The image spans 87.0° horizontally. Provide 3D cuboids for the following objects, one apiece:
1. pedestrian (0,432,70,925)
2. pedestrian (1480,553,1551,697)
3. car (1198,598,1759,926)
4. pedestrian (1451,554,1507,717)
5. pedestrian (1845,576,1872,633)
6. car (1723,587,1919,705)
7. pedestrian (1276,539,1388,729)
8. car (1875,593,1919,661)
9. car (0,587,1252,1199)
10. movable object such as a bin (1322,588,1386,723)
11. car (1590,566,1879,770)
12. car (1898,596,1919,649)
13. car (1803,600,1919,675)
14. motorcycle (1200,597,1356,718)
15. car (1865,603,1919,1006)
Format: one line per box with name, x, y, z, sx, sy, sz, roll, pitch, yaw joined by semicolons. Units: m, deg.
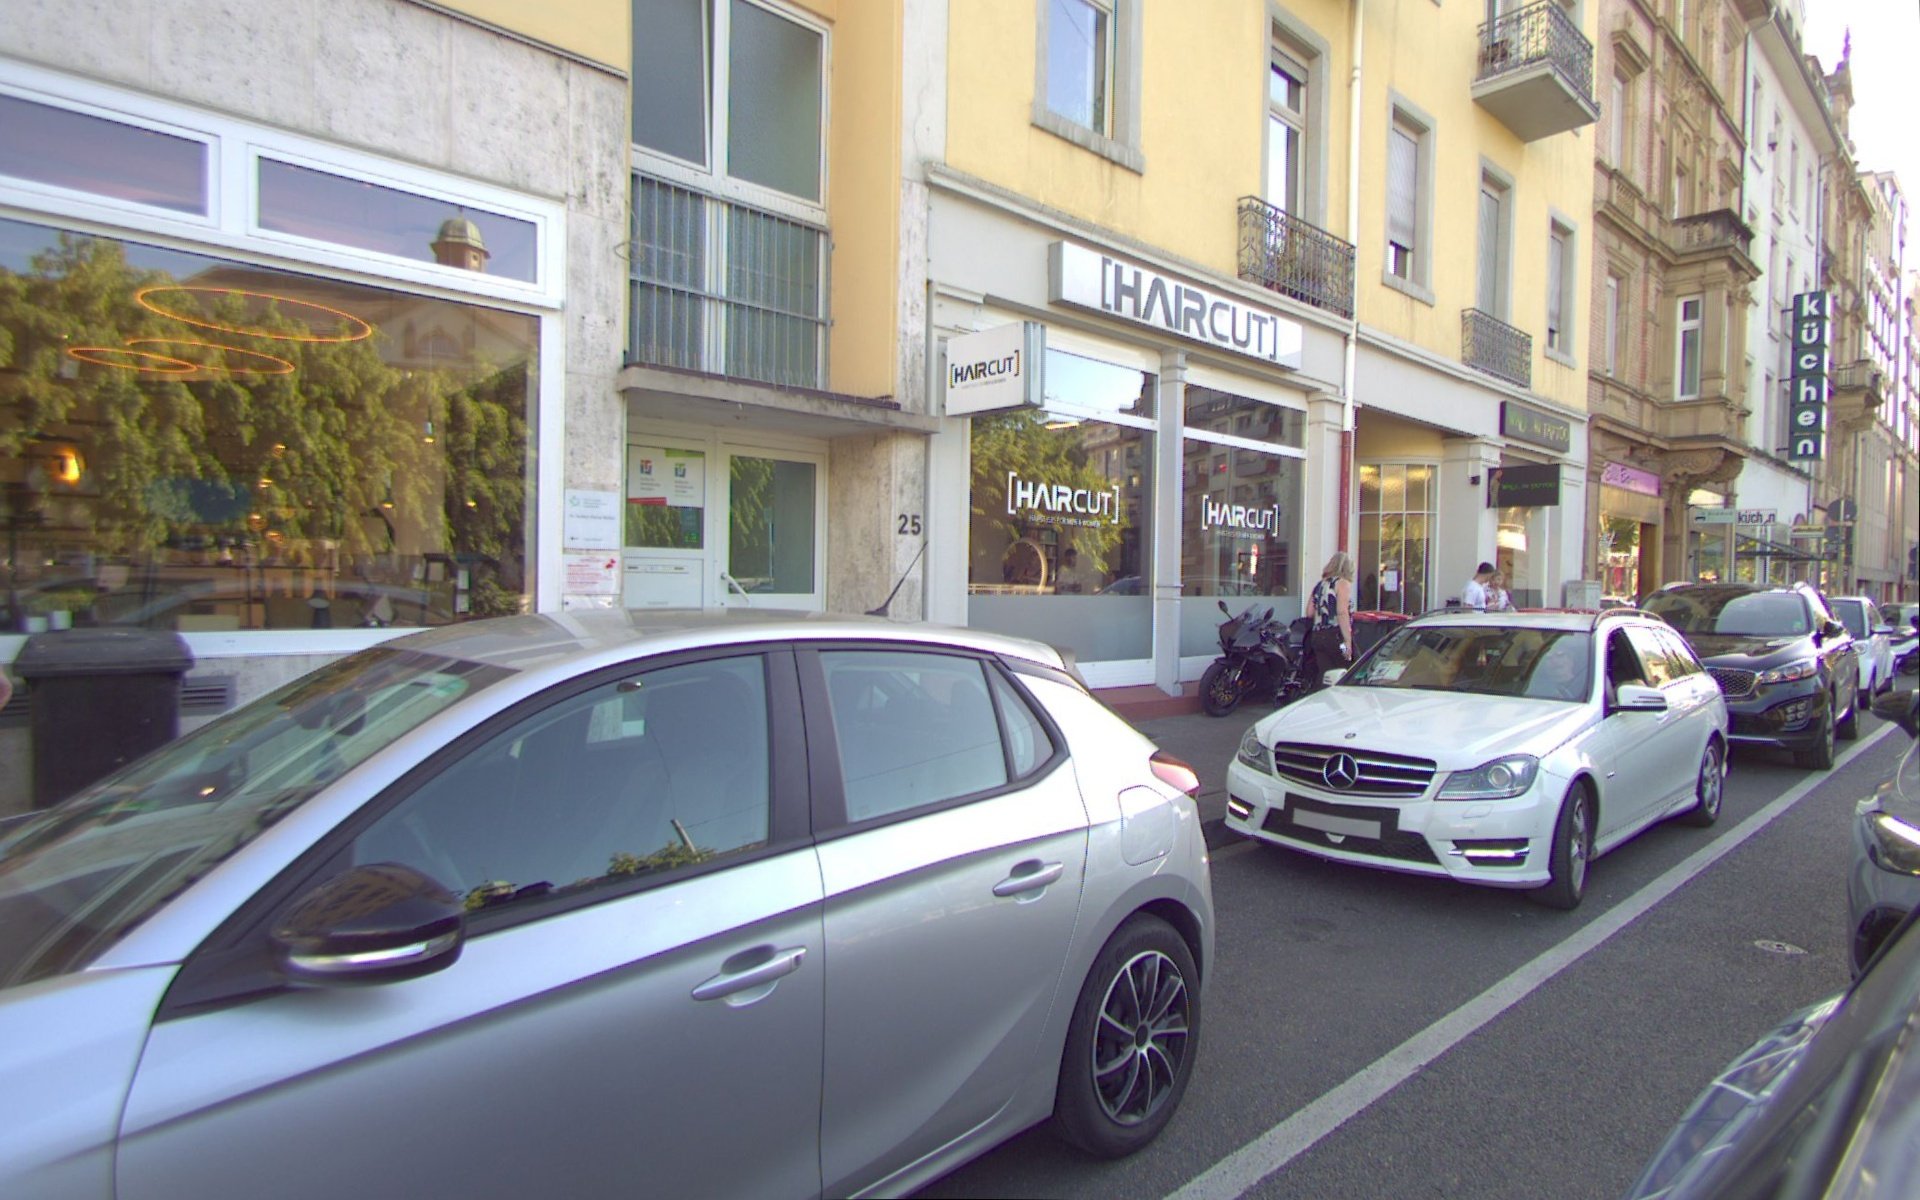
pedestrian;-3.594;0.269;3.397;0.635;1.686;0.659;0;0;-1
pedestrian;7.421;0.319;13.525;0.565;1.874;0.664;0;0;-39
car;3.511;0.697;6.438;4.302;1.376;1.703;-1;1;-41
pedestrian;6.580;0.428;12.821;0.682;2.008;0.373;0;1;-42
pedestrian;29.920;0.127;33.707;0.653;1.874;0.574;0;0;-40
car;13.100;0.581;15.302;4.016;1.546;1.800;-1;0;-42
pedestrian;3.441;0.281;9.383;0.595;1.674;0.719;0;3;-40
car;22.227;0.571;23.076;4.016;1.450;1.657;-1;0;-42
car;-0.996;0.699;2.300;3.597;1.445;1.549;-1;1;-42
movable object such as a bin;3.794;0.517;9.746;0.387;1.253;0.391;0;3;-41
car;8.038;0.531;10.351;4.176;1.659;1.799;-1;1;-45
car;26.632;0.586;27.193;3.773;1.357;1.800;-1;1;-42
car;18.023;0.664;19.821;4.016;1.282;1.800;-1;1;-42
motorcycle;3.312;0.547;10.442;1.920;1.091;0.567;-1;4;-41
car;5.289;0.706;4.266;3.932;1.376;1.800;-1;1;-42
